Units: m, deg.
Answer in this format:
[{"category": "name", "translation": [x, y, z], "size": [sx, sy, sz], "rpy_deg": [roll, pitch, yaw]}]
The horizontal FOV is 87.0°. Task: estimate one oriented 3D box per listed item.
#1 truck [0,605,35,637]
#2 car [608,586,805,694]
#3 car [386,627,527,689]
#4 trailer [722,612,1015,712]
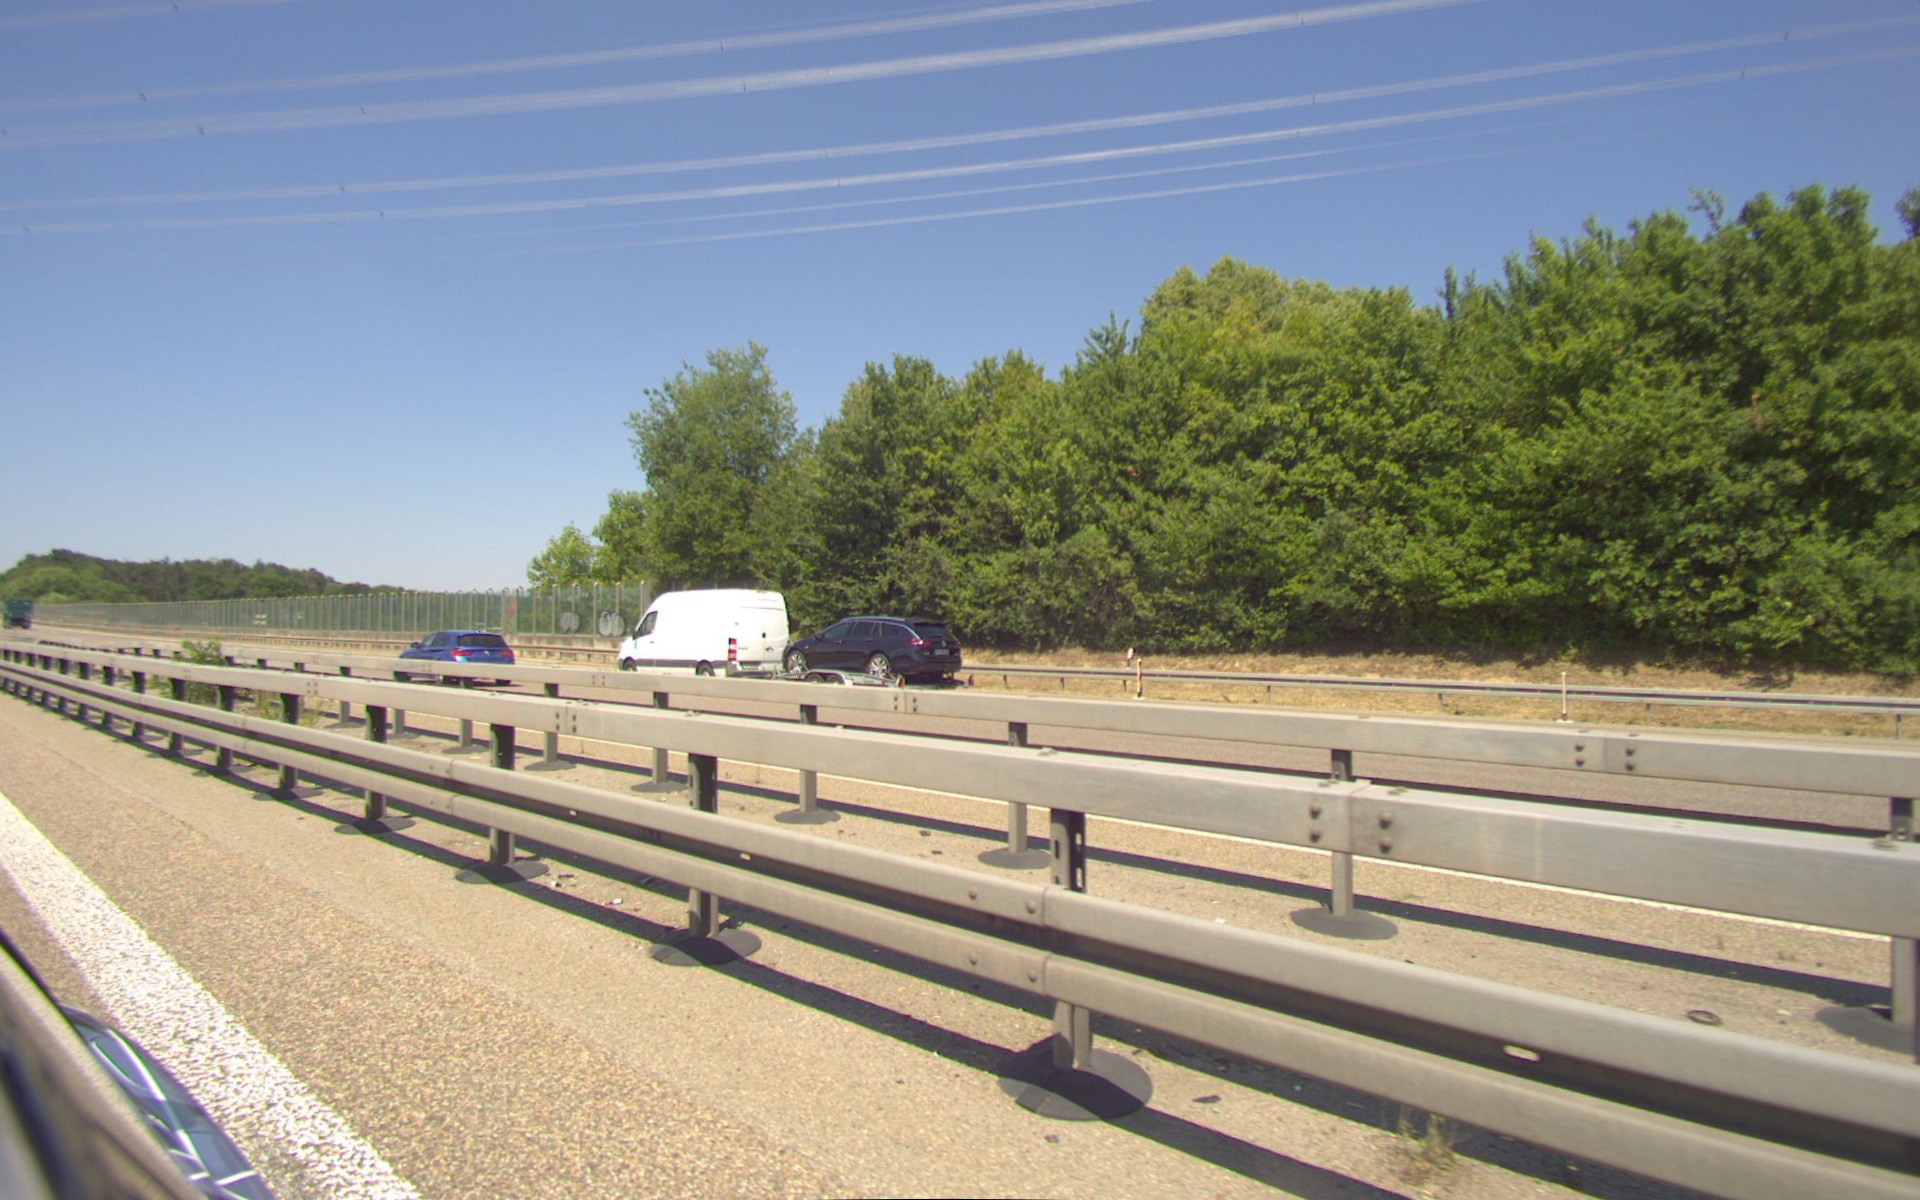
[{"category": "truck", "translation": [-131.971, 2.986, 140.962], "size": [11.086, 4.169, 3.272], "rpy_deg": [-1, -4, 41]}, {"category": "car", "translation": [-7.012, 1.077, 27.583], "size": [6.001, 2.660, 2.087], "rpy_deg": [-1, -4, 41]}, {"category": "car", "translation": [-13.269, 1.496, 26.550], "size": [4.353, 1.485, 1.763], "rpy_deg": [-1, -5, 42]}, {"category": "trailer", "translation": [-2.249, 1.327, 23.183], "size": [6.719, 1.961, 2.736], "rpy_deg": [-1, -3, 40]}]
